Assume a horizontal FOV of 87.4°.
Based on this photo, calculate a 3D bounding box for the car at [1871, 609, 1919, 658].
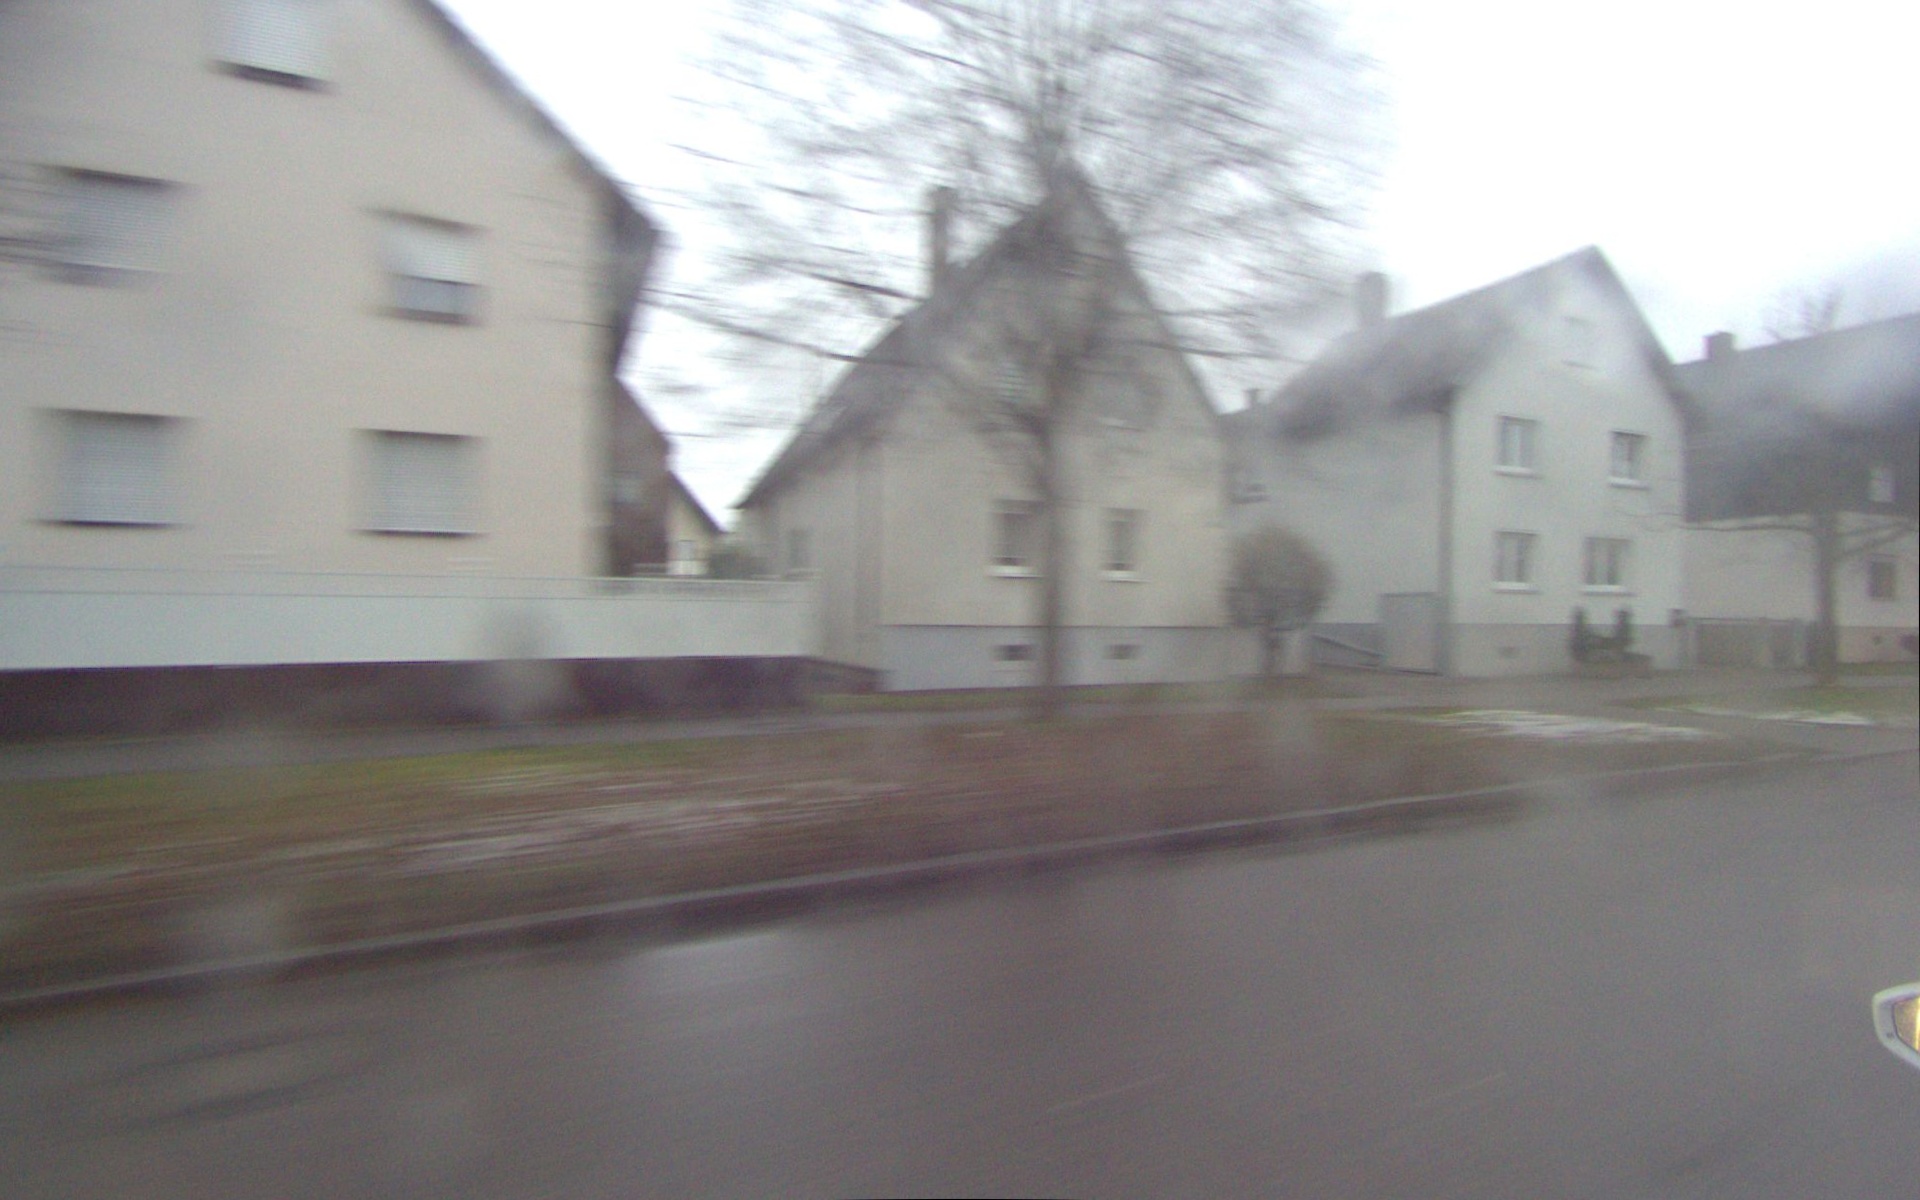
[{"bbox_3d":[29.412,1.038,29.927,3.941,1.384,1.779,2,1,-21],"label":"car"}]
